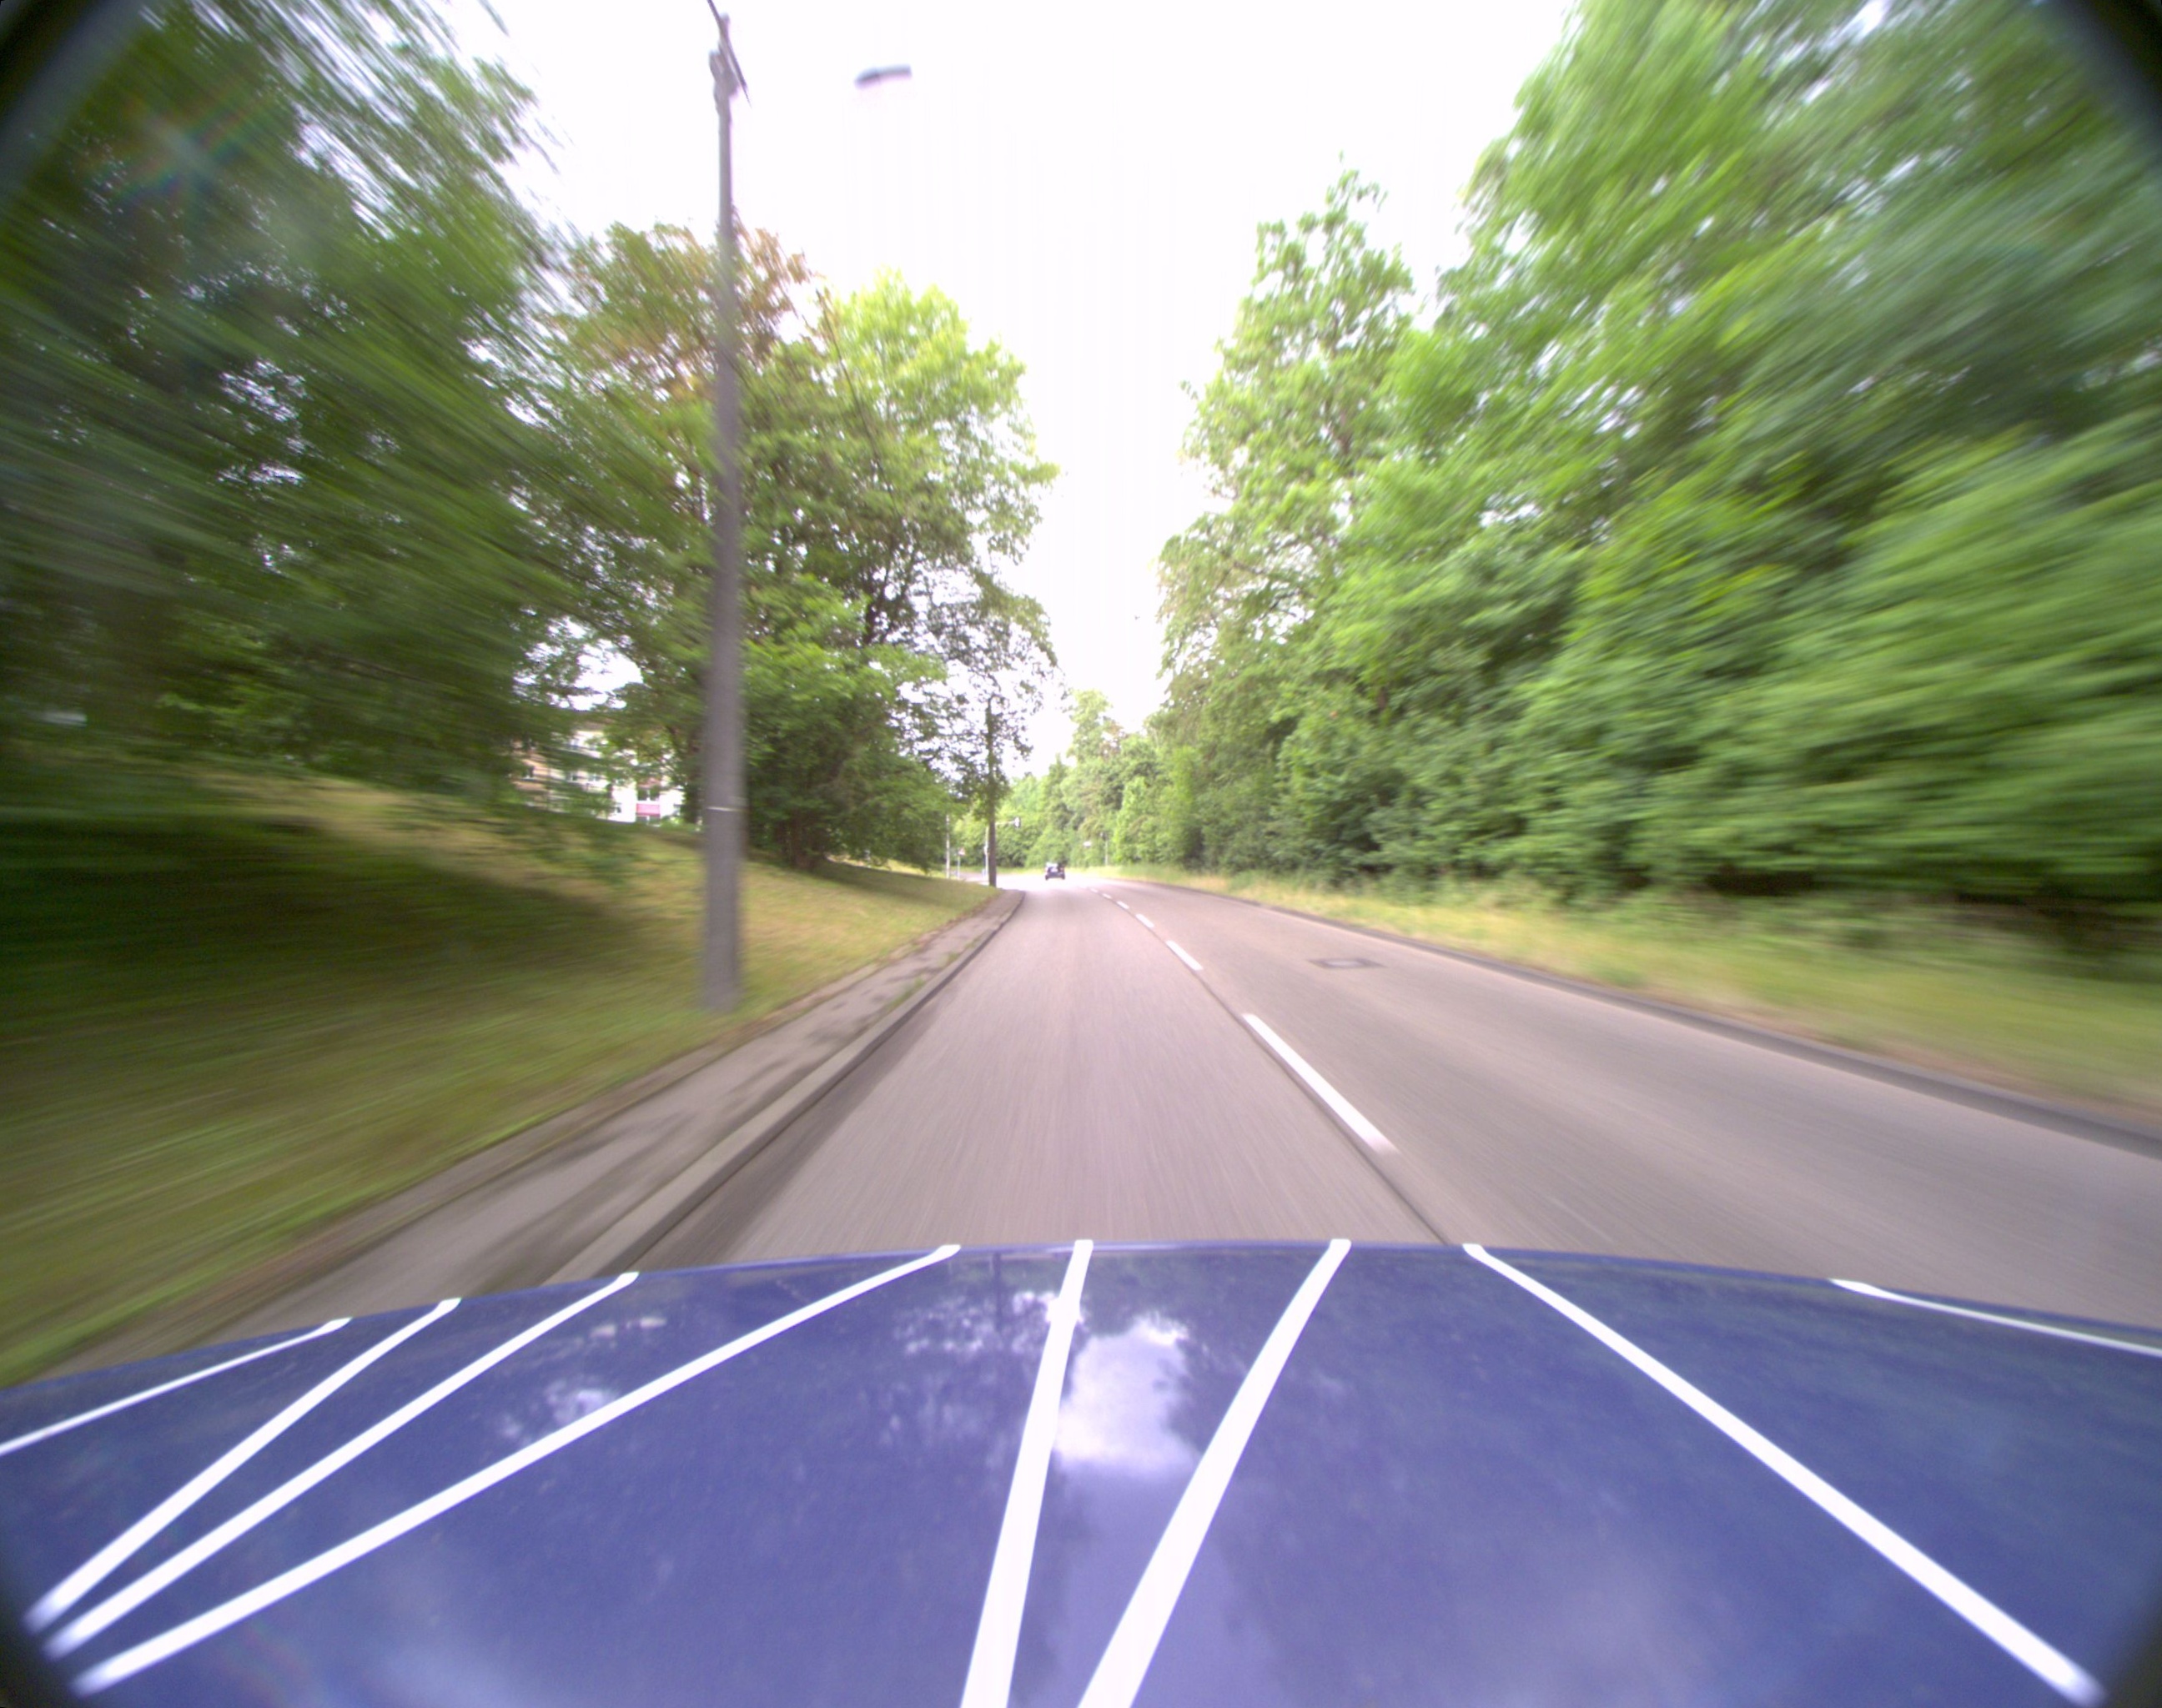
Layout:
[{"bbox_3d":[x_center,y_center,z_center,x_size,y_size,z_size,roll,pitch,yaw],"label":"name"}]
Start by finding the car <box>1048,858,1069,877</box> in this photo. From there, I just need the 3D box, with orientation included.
[{"bbox_3d":[-1.932,1.140,64.921,1.667,1.486,3.314,-2,0,-1],"label":"car"}]
